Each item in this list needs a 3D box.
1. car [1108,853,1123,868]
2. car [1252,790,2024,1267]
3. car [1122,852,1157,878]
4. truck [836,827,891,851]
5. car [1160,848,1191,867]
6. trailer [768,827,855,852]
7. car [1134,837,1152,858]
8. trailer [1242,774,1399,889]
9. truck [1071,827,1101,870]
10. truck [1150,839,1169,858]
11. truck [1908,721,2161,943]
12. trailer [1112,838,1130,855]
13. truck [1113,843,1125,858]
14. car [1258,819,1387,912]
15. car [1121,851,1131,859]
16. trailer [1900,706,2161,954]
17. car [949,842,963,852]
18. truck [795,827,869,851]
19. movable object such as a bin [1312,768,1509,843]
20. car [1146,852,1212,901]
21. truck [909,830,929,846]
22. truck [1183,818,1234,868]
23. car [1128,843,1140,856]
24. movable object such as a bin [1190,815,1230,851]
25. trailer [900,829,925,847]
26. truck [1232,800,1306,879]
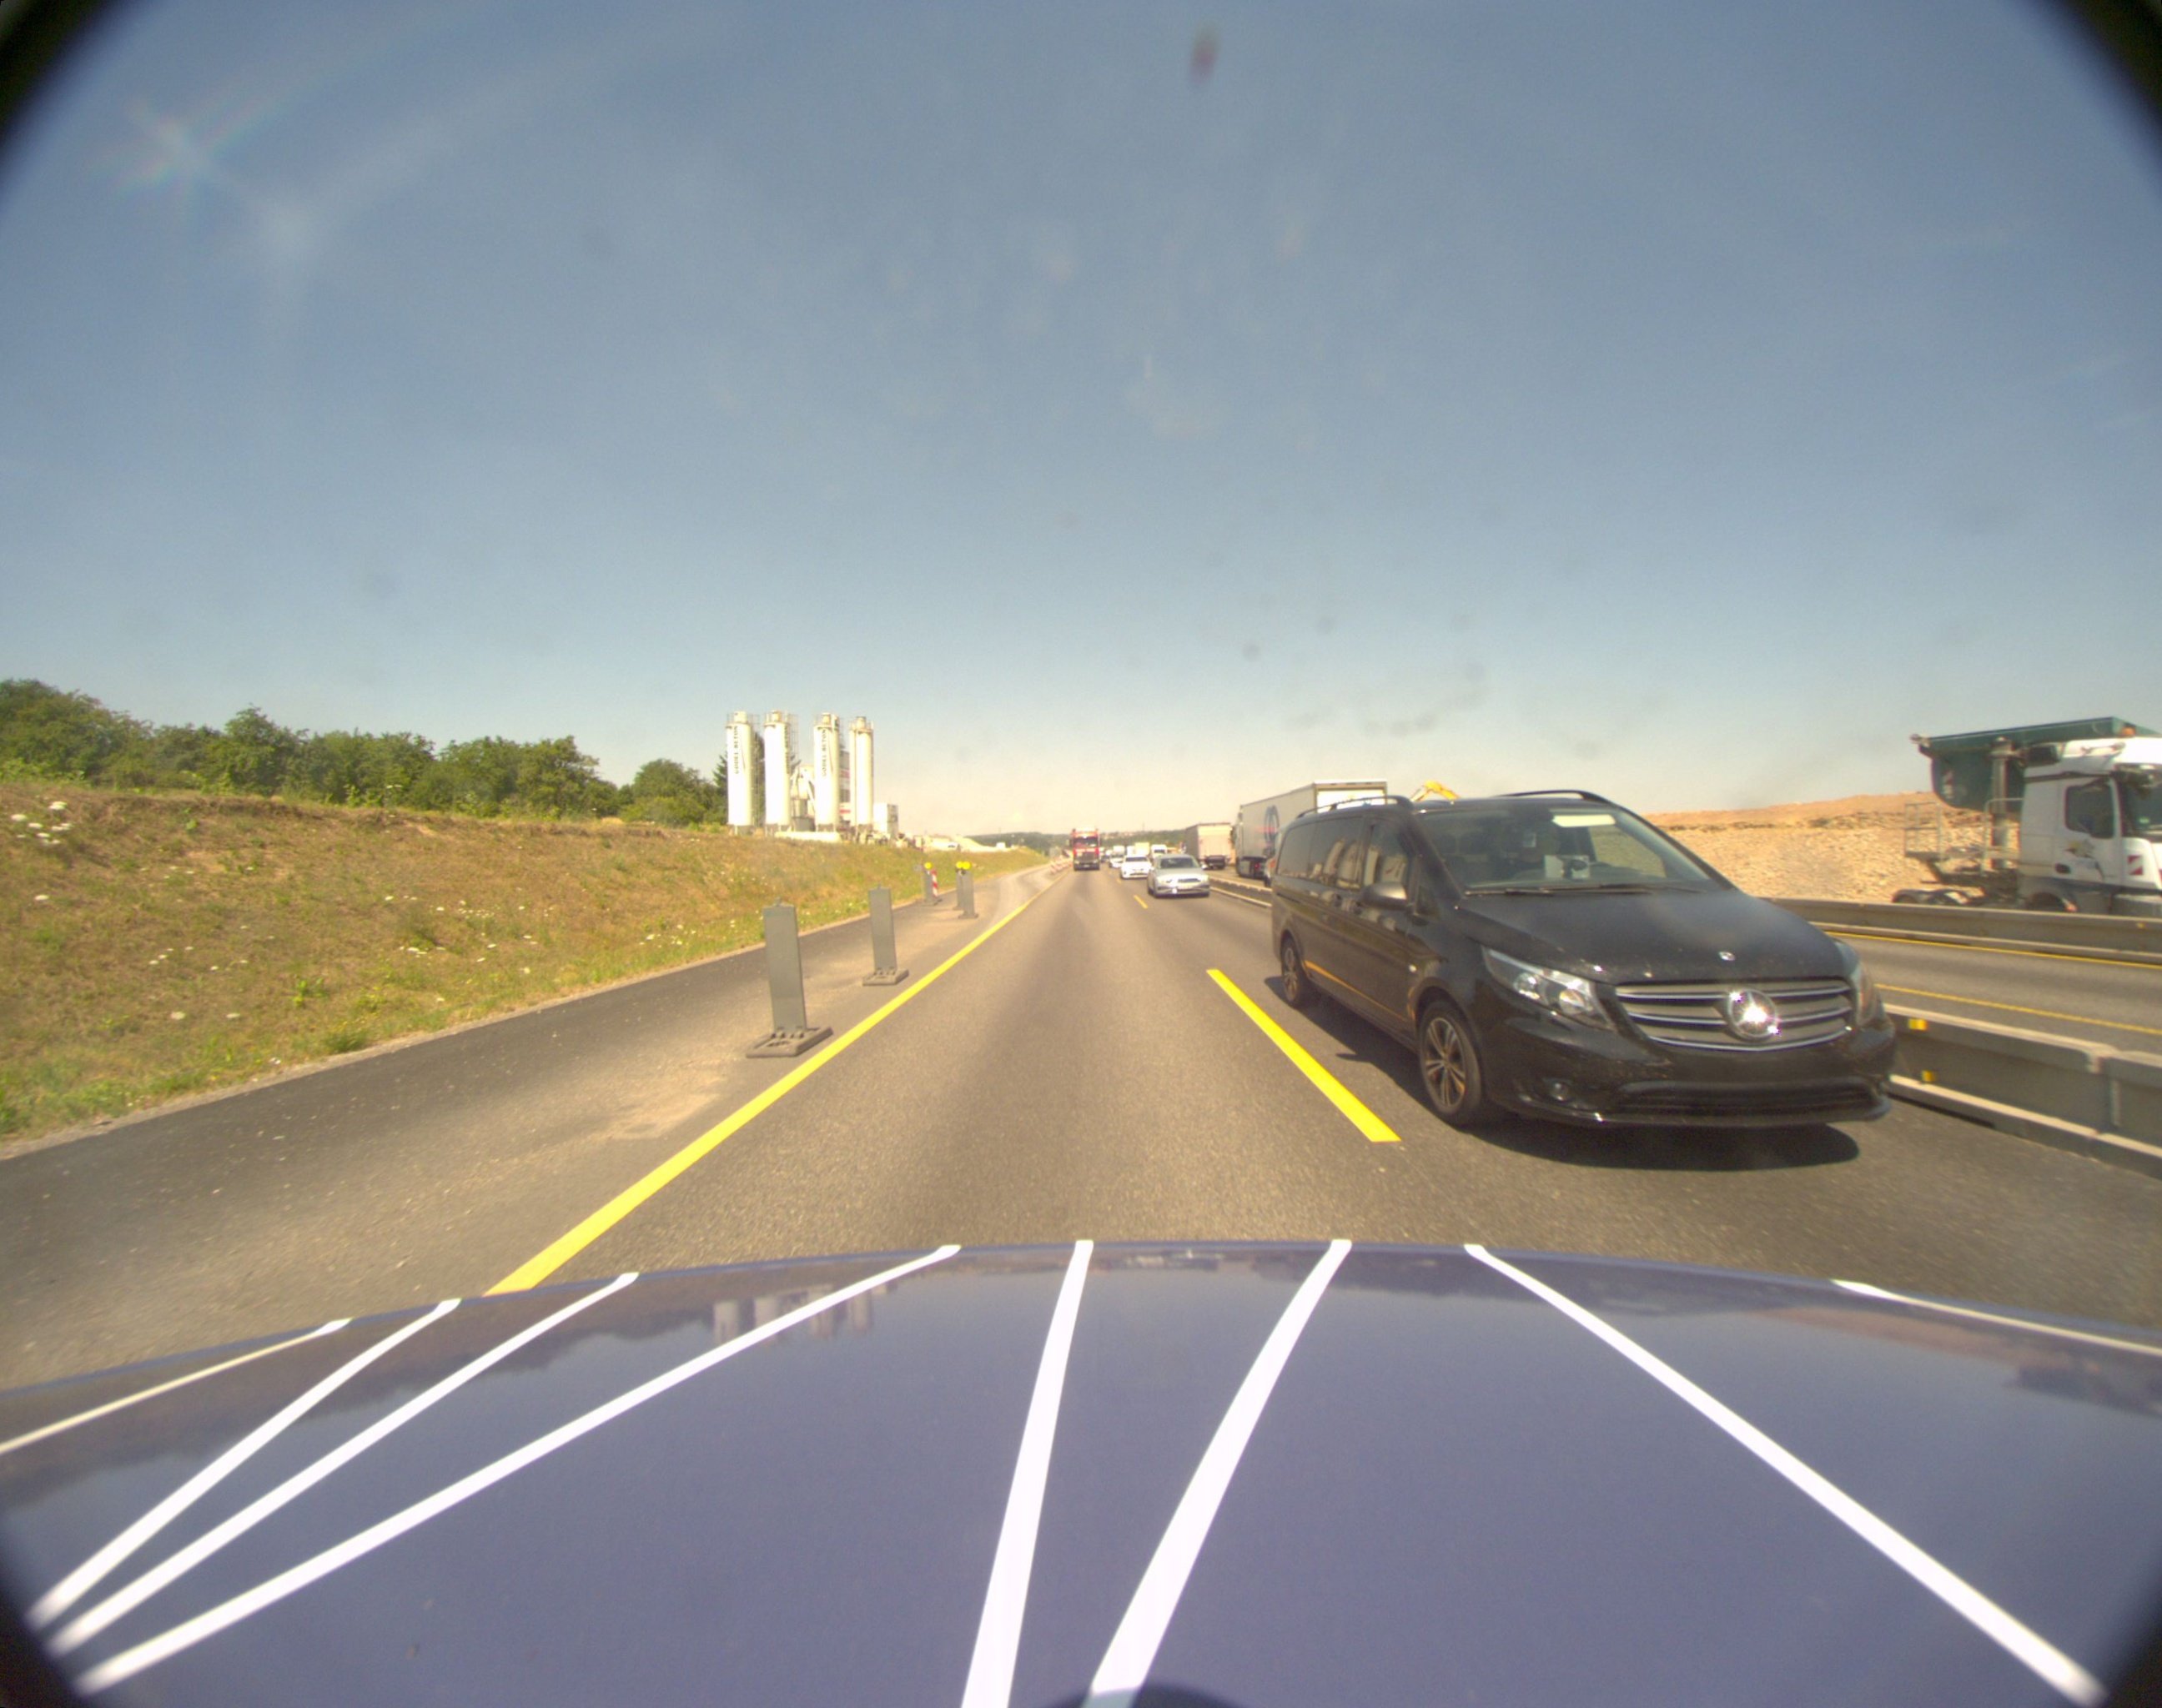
[{"bbox_3d":[3.751,0.697,82.884,1.601,1.390,3.695,-2,1,2],"label":"car"},{"bbox_3d":[2.834,0.699,5.771,1.878,1.840,5.479,-2,0,1],"label":"car"},{"bbox_3d":[3.456,0.611,45.379,1.875,1.390,4.030,-2,1,2],"label":"car"},{"bbox_3d":[-25.236,-1.716,88.148,5.317,2.530,2.897,-3,1,-36],"label":"truck"},{"bbox_3d":[7.654,0.268,62.120,1.862,1.434,4.500,-2,1,-1],"label":"car"},{"bbox_3d":[-30.638,-1.604,86.590,8.919,2.592,2.463,-1,1,-3],"label":"trailer"},{"bbox_3d":[11.721,-1.135,144.250,2.915,3.718,8.091,-2,0,1],"label":"car"},{"bbox_3d":[9.977,-0.897,33.895,2.861,4.070,13.651,-1,1,1],"label":"trailer"},{"bbox_3d":[0.552,-0.568,74.828,2.537,3.798,9.481,-2,1,2],"label":"truck"},{"bbox_3d":[11.434,-0.774,110.986,2.103,2.554,6.355,-3,-1,0],"label":"truck"},{"bbox_3d":[16.333,-0.394,11.993,2.581,2.947,5.069,-2,1,23],"label":"truck"},{"bbox_3d":[11.335,-2.028,216.270,2.994,4.570,12.874,-3,1,-7],"label":"trailer"},{"bbox_3d":[8.357,-0.797,167.358,2.276,3.132,7.313,-2,1,2],"label":"truck"},{"bbox_3d":[6.785,0.255,22.028,1.998,2.279,5.342,-2,1,0],"label":"car"},{"bbox_3d":[8.675,0.195,146.721,1.793,1.473,4.560,-2,1,1],"label":"car"},{"bbox_3d":[20.862,-0.569,14.637,8.370,4.074,2.797,-3,1,-10],"label":"trailer"},{"bbox_3d":[-23.918,-1.384,145.923,1.990,1.752,3.601,-2,1,1],"label":"car"},{"bbox_3d":[-33.521,-2.003,102.294,9.090,2.852,2.460,-2,1,7],"label":"truck"},{"bbox_3d":[33.249,-4.811,77.145,18.266,6.734,3.388,-2,1,1],"label":"movable object such as a bin"},{"bbox_3d":[3.348,0.732,26.654,1.804,1.499,4.100,-2,0,1],"label":"car"},{"bbox_3d":[-26.724,-2.602,125.446,2.021,2.530,4.041,-2,1,4],"label":"truck"},{"bbox_3d":[10.409,-0.908,62.958,2.651,3.695,9.481,-2,1,1],"label":"truck"},{"bbox_3d":[12.169,-1.094,175.075,2.257,2.938,5.848,-2,1,1],"label":"car"},{"bbox_3d":[26.646,-4.253,157.404,7.378,7.073,4.081,-2,1,1],"label":"movable object such as a bin"},{"bbox_3d":[-26.934,-2.542,121.689,1.998,2.629,6.937,-2,1,4],"label":"trailer"},{"bbox_3d":[10.093,-0.775,41.330,2.855,3.995,4.858,-1,1,1],"label":"truck"}]
